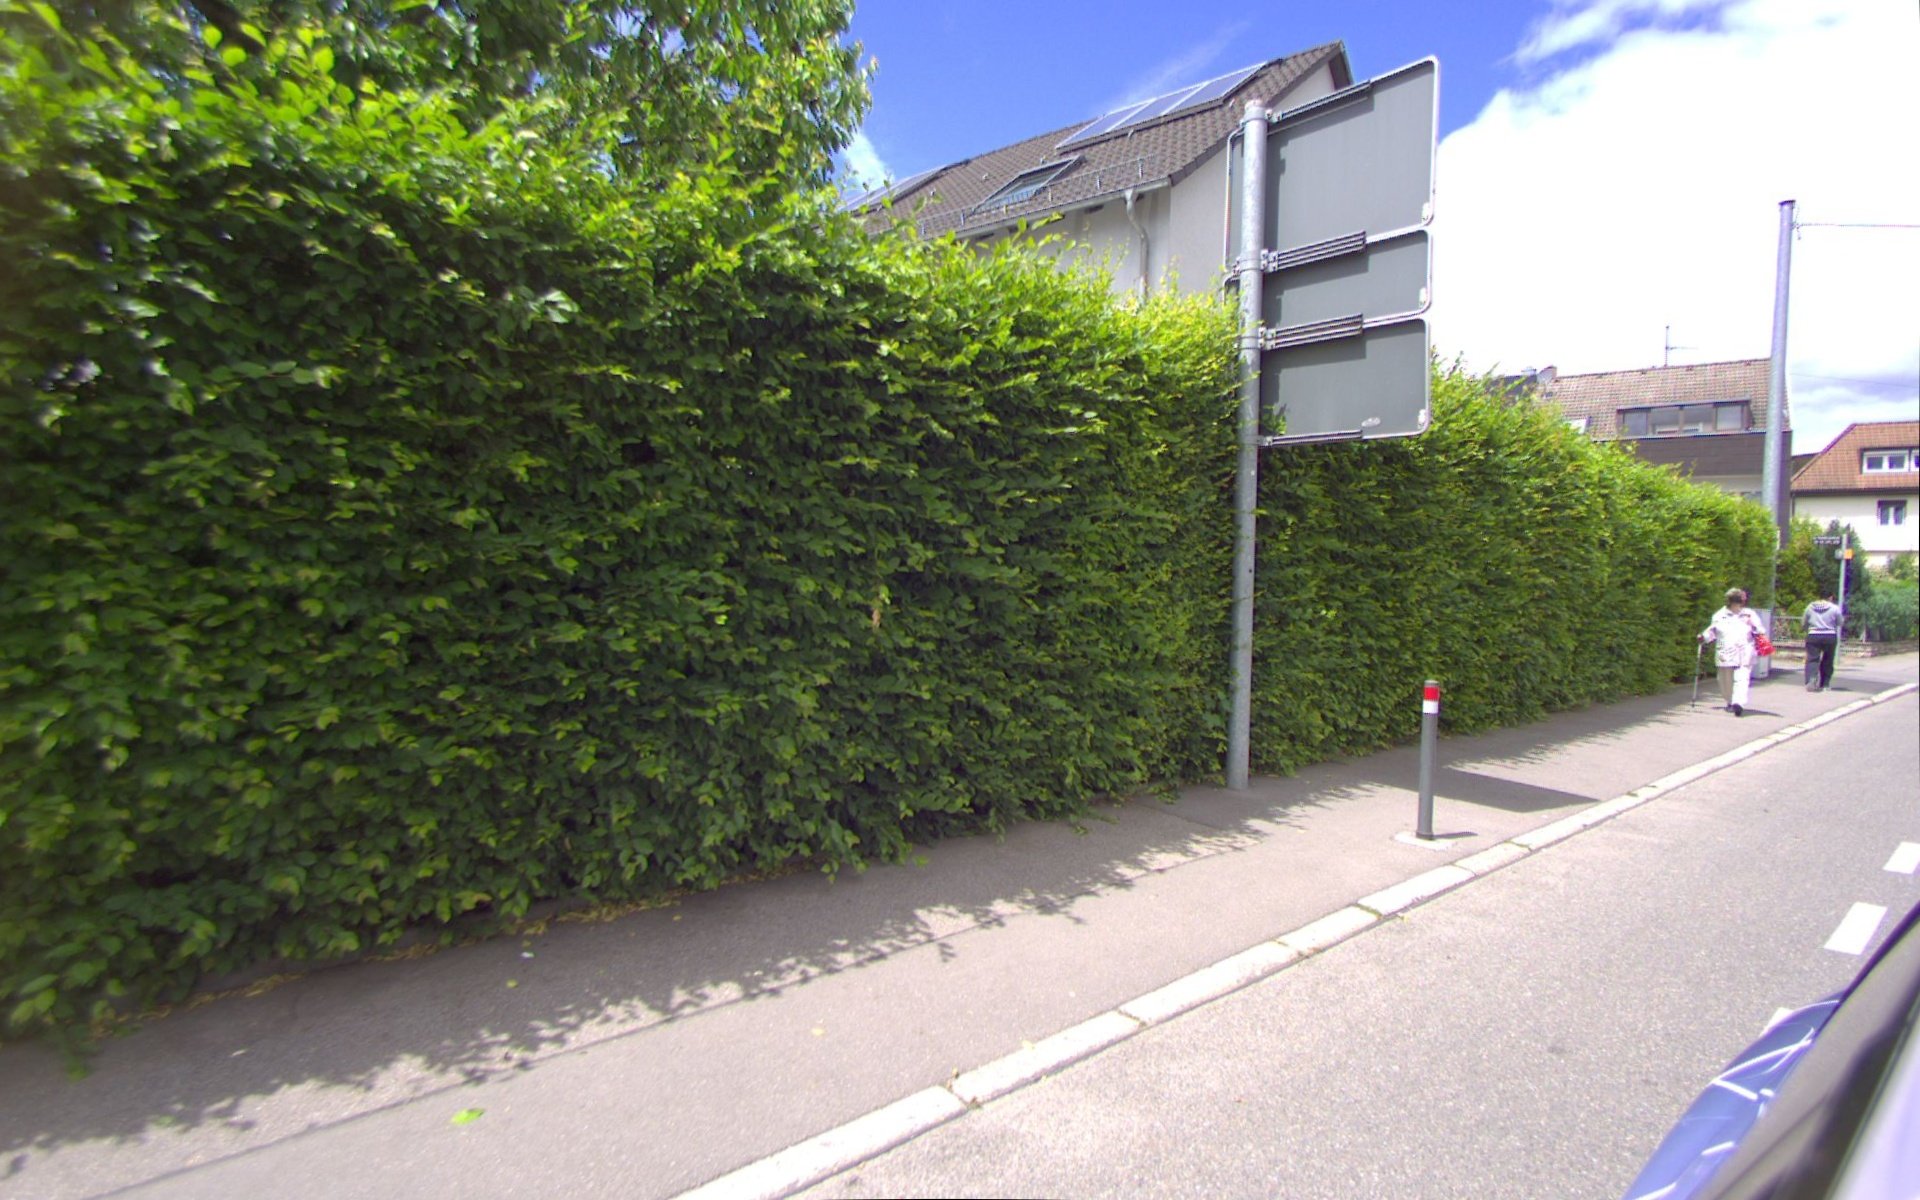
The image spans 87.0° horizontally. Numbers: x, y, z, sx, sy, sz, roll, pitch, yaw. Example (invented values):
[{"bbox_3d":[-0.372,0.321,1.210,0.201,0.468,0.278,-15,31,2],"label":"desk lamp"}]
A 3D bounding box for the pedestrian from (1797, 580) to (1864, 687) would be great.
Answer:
[{"bbox_3d":[13.852,0.508,16.102,0.821,1.625,0.604,0,3,-40],"label":"pedestrian"}]

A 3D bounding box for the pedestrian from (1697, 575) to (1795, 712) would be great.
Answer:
[{"bbox_3d":[9.948,0.519,12.815,0.641,1.637,0.801,1,2,-39],"label":"pedestrian"}]
